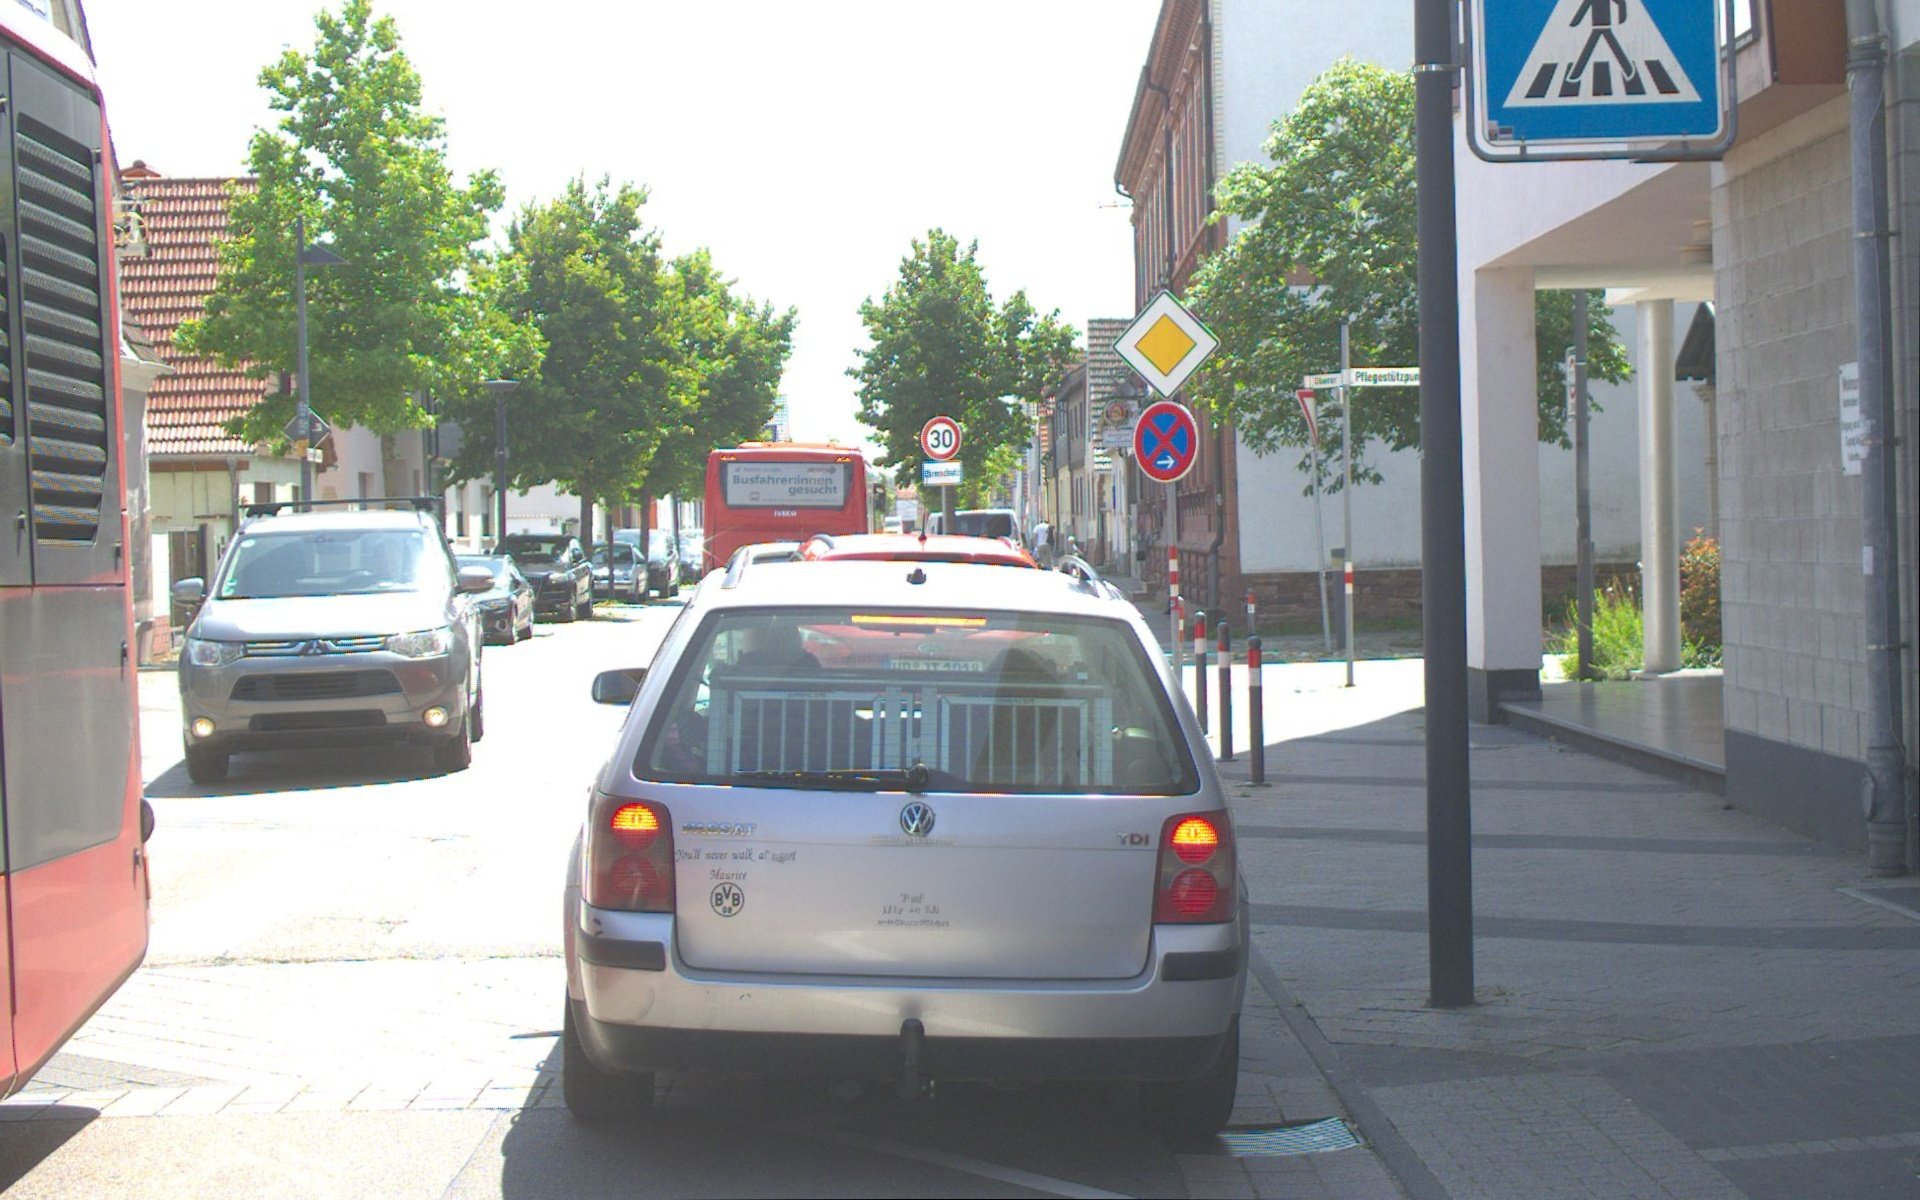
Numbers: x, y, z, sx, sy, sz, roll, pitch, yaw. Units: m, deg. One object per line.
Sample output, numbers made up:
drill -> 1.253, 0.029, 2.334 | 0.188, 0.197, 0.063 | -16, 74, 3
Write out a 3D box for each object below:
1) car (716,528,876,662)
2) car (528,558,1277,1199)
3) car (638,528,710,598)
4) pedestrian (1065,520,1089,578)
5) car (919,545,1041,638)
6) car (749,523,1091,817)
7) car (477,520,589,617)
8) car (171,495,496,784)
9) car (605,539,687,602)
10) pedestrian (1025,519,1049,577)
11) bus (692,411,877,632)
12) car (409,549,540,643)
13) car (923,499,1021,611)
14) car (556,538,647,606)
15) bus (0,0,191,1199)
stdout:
car -> -1.797, -0.088, 38.485 | 1.593, 1.425, 3.679 | 0, 1, 0
car -> -0.155, 0.625, 9.662 | 1.677, 1.425, 3.680 | 1, 1, -1
car -> -8.445, -1.109, 101.899 | 1.811, 1.989, 4.000 | -1, 1, -1
pedestrian -> 3.360, -1.472, 98.949 | 0.606, 1.661, 0.789 | -1, 1, -2
car -> 0.271, -0.149, 51.822 | 1.719, 1.304, 3.626 | -1, 1, -1
car -> -0.224, 0.318, 19.093 | 1.677, 1.425, 3.680 | -2, 1, -1
car -> -8.428, -0.648, 68.146 | 1.764, 1.831, 3.789 | -1, 1, -1
car -> -4.087, 0.199, 22.999 | 1.674, 1.710, 4.233 | -2, 1, -5
car -> -8.157, -0.777, 89.602 | 1.811, 1.553, 4.000 | -1, 1, -1
pedestrian -> 2.214, -1.501, 99.176 | 0.606, 1.661, 0.789 | -1, 1, -2
bus -> -2.871, -1.273, 58.137 | 2.740, 3.287, 12.706 | -1, 1, -2
car -> -7.933, -0.097, 56.490 | 1.605, 1.433, 4.065 | -1, 1, -1
car -> 0.210, -0.893, 67.147 | 1.787, 2.075, 3.626 | -1, 1, -1
car -> -8.633, -0.688, 83.072 | 1.811, 1.553, 4.000 | -1, 1, -1
bus -> -3.385, -0.019, 0.811 | 2.668, 3.113, 17.808 | -2, 1, -1
